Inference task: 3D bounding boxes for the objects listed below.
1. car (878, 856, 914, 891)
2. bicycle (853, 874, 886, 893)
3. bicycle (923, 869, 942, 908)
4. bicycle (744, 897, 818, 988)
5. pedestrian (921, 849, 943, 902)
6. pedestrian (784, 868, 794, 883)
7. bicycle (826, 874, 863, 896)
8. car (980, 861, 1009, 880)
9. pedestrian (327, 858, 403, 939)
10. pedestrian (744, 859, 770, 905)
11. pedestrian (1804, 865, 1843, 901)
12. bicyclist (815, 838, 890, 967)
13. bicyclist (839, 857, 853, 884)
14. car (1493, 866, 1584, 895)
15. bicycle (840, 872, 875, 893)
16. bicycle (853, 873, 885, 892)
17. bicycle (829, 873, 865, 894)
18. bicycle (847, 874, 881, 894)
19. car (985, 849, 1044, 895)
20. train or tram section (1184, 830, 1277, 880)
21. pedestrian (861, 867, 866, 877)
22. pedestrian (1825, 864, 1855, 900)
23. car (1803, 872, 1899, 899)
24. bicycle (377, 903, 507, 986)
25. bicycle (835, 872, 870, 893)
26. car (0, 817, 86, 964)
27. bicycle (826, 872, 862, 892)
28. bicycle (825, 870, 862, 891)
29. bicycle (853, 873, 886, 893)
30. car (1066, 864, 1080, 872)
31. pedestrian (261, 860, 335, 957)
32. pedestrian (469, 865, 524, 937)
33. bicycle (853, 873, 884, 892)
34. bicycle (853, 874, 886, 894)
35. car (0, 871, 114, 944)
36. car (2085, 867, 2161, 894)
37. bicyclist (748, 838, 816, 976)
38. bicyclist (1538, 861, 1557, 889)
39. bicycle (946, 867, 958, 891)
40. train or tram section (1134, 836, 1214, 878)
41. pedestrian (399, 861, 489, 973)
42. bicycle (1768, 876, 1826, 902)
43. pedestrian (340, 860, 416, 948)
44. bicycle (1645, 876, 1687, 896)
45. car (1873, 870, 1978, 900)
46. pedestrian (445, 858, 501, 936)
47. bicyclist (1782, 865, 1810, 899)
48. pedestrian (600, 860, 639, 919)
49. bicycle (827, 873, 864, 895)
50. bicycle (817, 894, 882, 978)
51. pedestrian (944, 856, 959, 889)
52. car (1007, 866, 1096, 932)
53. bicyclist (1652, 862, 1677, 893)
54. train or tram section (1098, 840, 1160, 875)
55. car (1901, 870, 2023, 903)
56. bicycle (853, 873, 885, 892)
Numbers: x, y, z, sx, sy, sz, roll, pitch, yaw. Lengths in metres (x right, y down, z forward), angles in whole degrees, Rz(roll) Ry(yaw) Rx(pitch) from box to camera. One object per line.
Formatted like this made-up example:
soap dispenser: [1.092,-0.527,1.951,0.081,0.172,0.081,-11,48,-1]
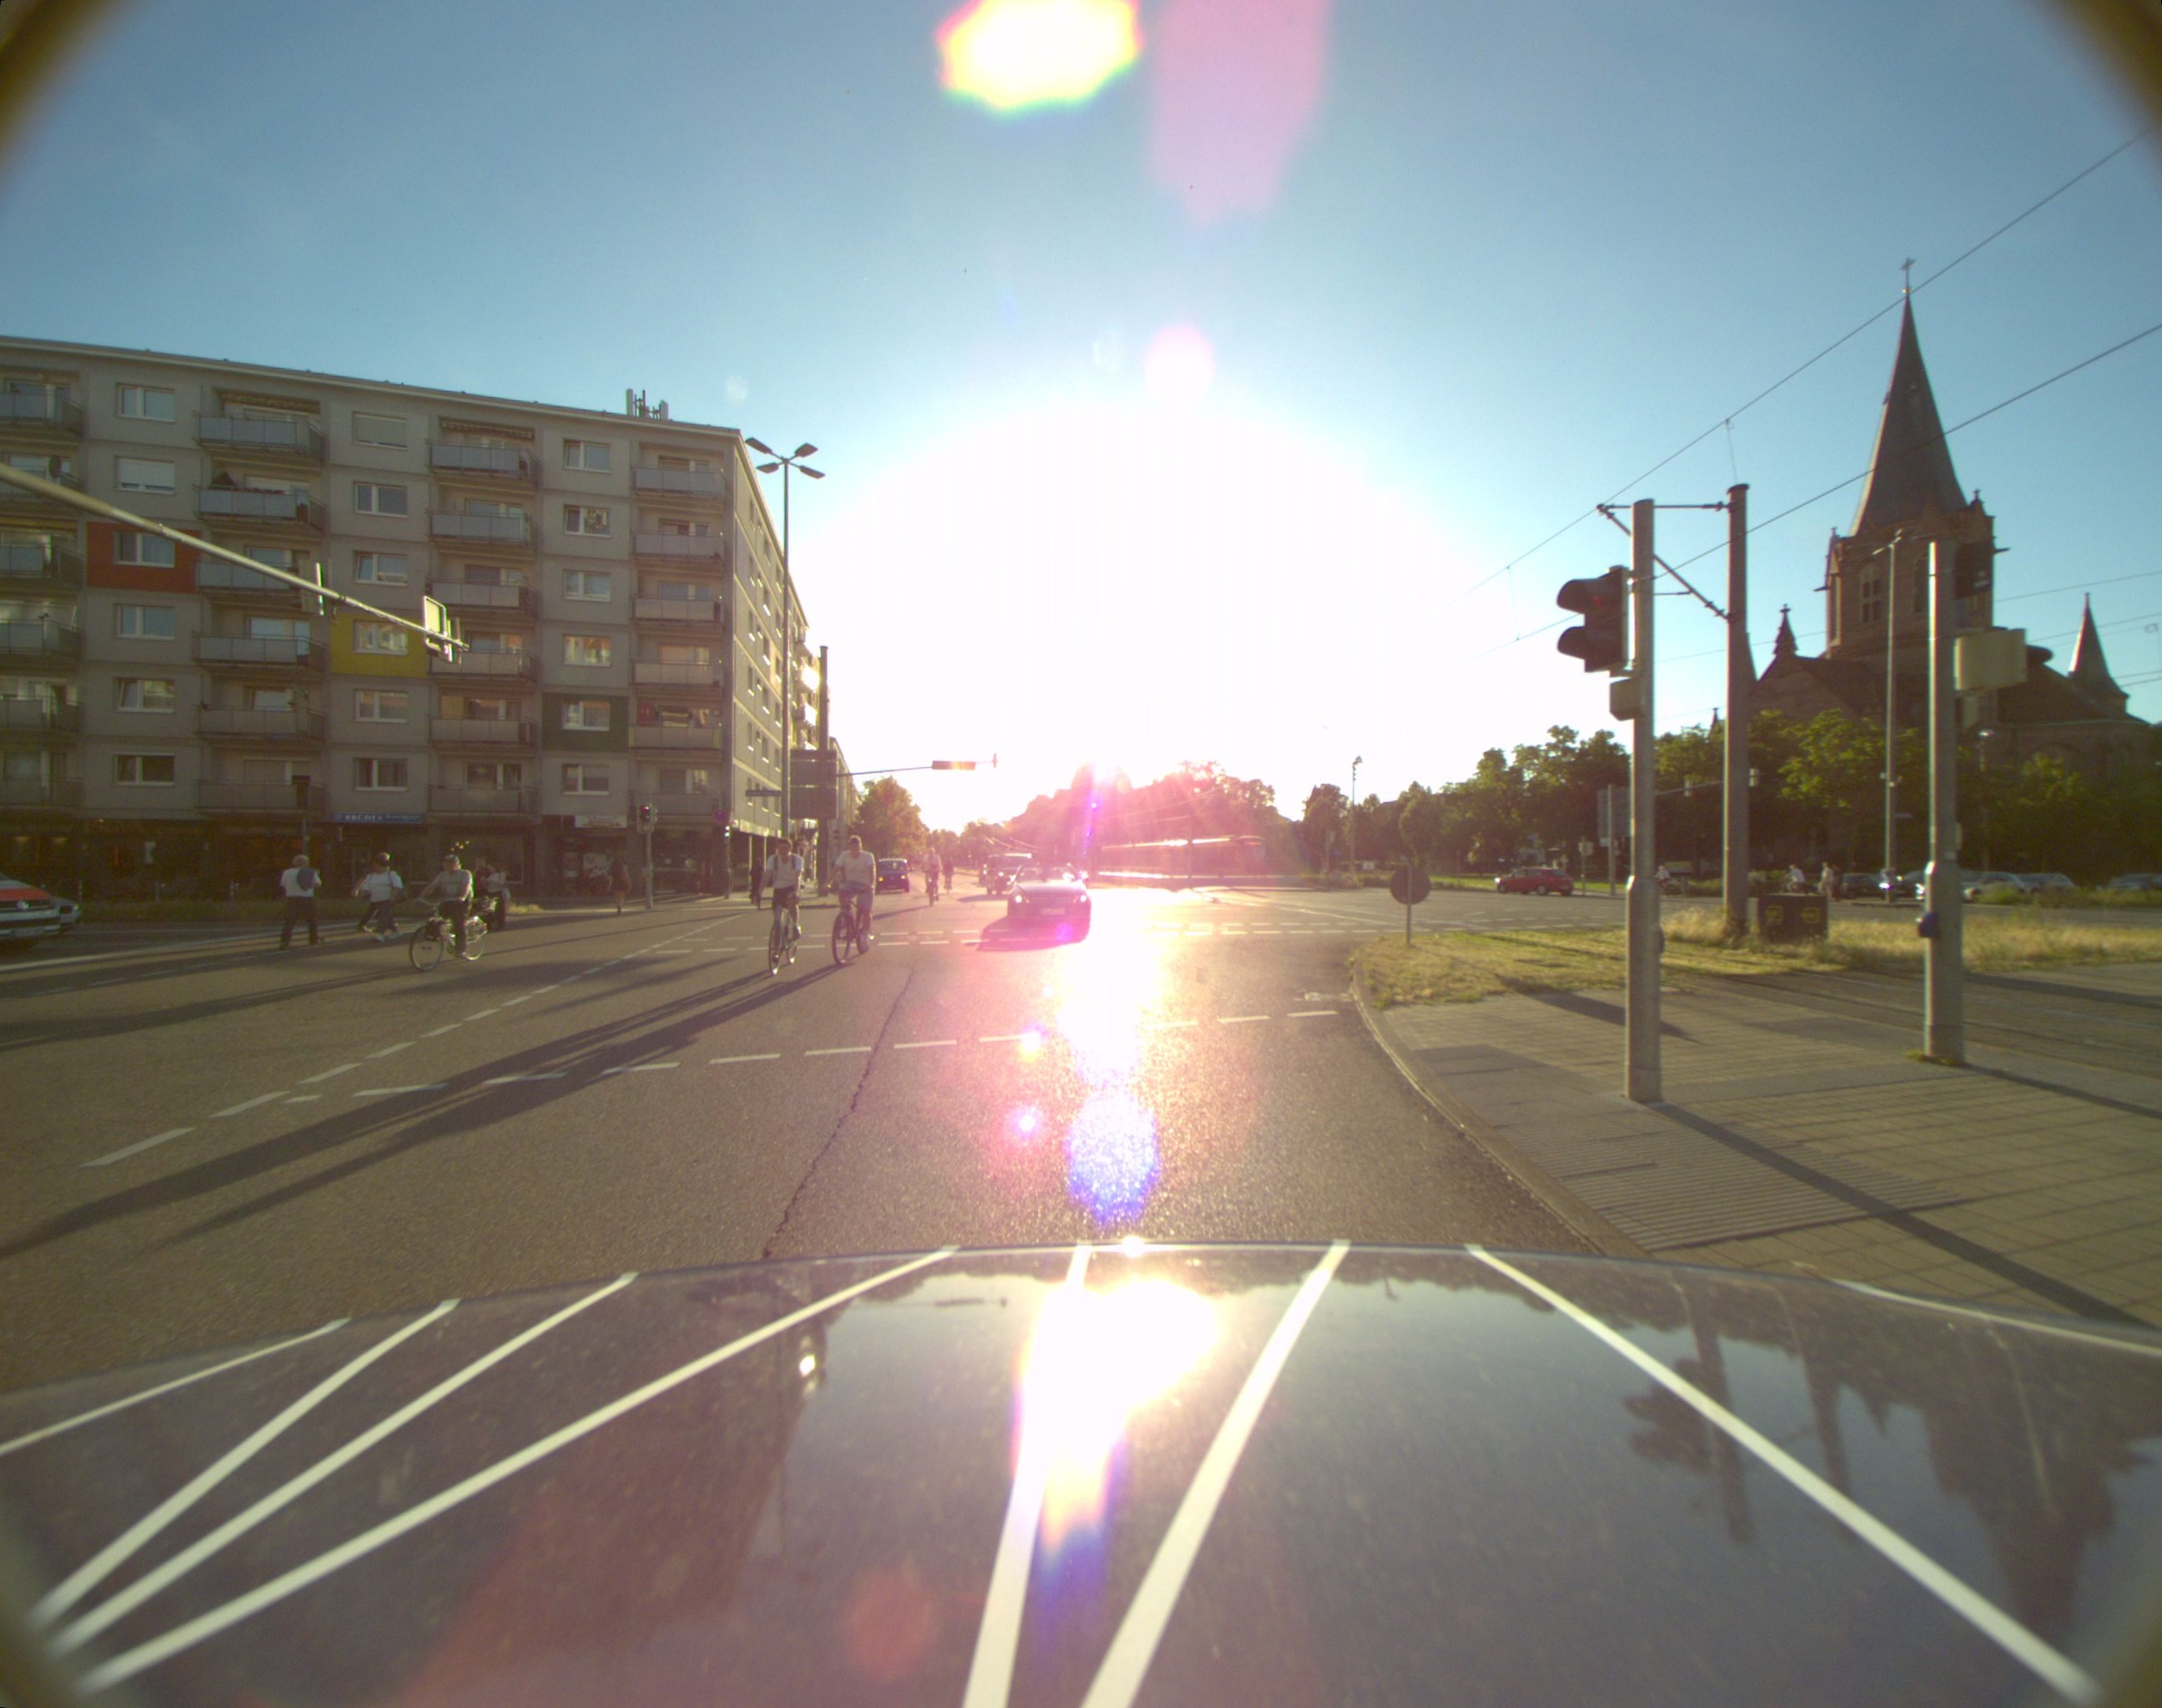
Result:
car: [-10.745,1.109,44.178,1.944,1.922,4.826,0,0,-14]
bicycle: [-12.882,1.788,46.223,1.875,1.119,0.567,3,-1,-17]
bicycle: [-4.754,1.090,24.386,0.530,1.152,1.847,-1,0,-10]
bicycle: [-4.077,1.161,10.450,0.577,1.022,1.855,-1,0,-10]
pedestrian: [-4.768,0.686,24.367,0.640,1.639,0.842,-1,0,-9]
pedestrian: [-22.032,1.611,57.340,0.607,1.145,0.727,0,0,-14]
bicycle: [-12.856,1.684,41.343,1.875,1.119,0.606,3,-1,-17]
car: [-7.193,1.337,62.804,1.817,1.392,3.914,-3,0,-14]
pedestrian: [-15.558,0.941,16.535,0.786,1.691,1.026,0,0,-12]
pedestrian: [-12.101,1.031,28.390,0.664,1.694,1.071,0,0,-9]
pedestrian: [34.964,1.344,35.805,0.738,1.663,1.104,0,0,-11]
bicyclist: [-3.336,0.682,11.180,0.829,1.797,1.057,0,0,-4]
bicyclist: [-15.607,1.100,50.463,0.744,1.797,1.384,0,0,-11]
car: [23.771,1.332,39.603,1.731,1.406,3.880,0,-1,-19]
bicycle: [-13.007,1.646,44.240,1.875,1.119,0.567,3,-1,-17]
bicycle: [-13.374,1.806,47.871,1.875,1.119,0.567,3,-1,-17]
bicycle: [-13.144,1.653,42.693,1.875,1.119,0.567,3,-1,-17]
bicycle: [-12.835,1.796,44.952,1.875,1.119,0.567,3,-1,-17]
car: [-3.170,0.781,35.458,1.922,1.978,4.941,0,0,-15]
train or tram section: [11.328,0.128,59.069,2.783,3.515,10.557,0,0,-14]
pedestrian: [-31.147,2.519,108.913,0.729,1.431,0.923,-1,0,-15]
pedestrian: [35.803,1.326,35.844,0.738,1.663,0.717,0,0,-11]
car: [41.869,1.689,41.343,4.002,1.411,1.900,0,0,-14]
bicycle: [-9.332,1.280,11.186,0.522,0.975,1.848,0,1,-7]
bicycle: [-13.083,1.656,43.512,1.875,1.119,0.567,3,-1,-17]
car: [-20.793,0.620,12.517,5.269,2.468,1.923,0,0,-14]
bicycle: [-12.697,1.512,40.755,1.875,1.055,0.606,0,0,-16]
bicycle: [-12.526,1.396,40.161,1.875,1.055,0.606,0,0,-16]
bicycle: [-13.026,1.773,46.775,1.875,1.119,0.567,3,-1,-17]
car: [-1.422,2.492,136.835,1.717,1.531,3.669,0,0,-13]
pedestrian: [-14.108,0.951,13.710,0.570,1.691,0.811,0,0,-12]
pedestrian: [-12.487,0.985,16.251,0.684,1.491,0.746,0,0,-12]
bicycle: [-13.662,1.817,48.931,1.875,1.119,0.567,3,-1,-17]
bicycle: [-12.722,1.809,45.674,1.875,1.119,0.567,3,-1,-17]
car: [-22.872,1.067,15.250,4.002,1.368,1.804,0,1,-14]
car: [56.974,1.405,41.013,4.002,1.411,1.900,0,0,-14]
bicyclist: [-4.075,0.695,10.428,0.676,1.797,0.993,0,0,-10]
bicyclist: [30.837,1.389,50.260,0.575,1.816,0.893,-1,0,-14]
bicycle: [-6.591,1.278,38.786,0.530,1.152,1.847,-1,0,-12]
train or tram section: [8.312,0.260,70.560,2.783,3.515,13.235,0,0,-14]
pedestrian: [-9.396,0.903,11.240,0.677,1.580,0.761,0,2,-7]
bicycle: [33.733,1.639,35.821,0.460,1.139,1.915,-1,0,-27]
pedestrian: [-13.664,0.945,14.794,0.730,1.652,0.905,0,0,-12]
bicycle: [31.838,1.741,41.400,0.460,1.020,1.928,-1,0,-13]
car: [42.632,1.534,38.381,4.002,1.411,1.900,0,0,-14]
pedestrian: [-13.287,0.925,16.629,0.684,1.652,0.746,0,0,-12]
bicyclist: [33.707,1.301,35.836,0.522,1.574,0.819,-1,0,-27]
pedestrian: [-12.653,0.959,20.855,0.684,1.580,0.746,0,0,-9]
bicycle: [-12.998,1.667,41.919,1.875,1.119,0.567,3,-1,-17]
bicycle: [-3.356,1.148,11.172,0.479,1.022,1.980,-1,0,-5]
pedestrian: [-6.625,0.946,38.924,0.679,1.639,0.901,-1,0,-11]
car: [-0.807,0.949,17.694,1.777,1.300,4.238,0,0,-6]
bicyclist: [31.826,1.277,41.430,0.575,1.671,0.893,-1,0,-14]
train or tram section: [5.031,0.376,83.411,2.783,3.515,13.235,0,0,-14]
car: [40.404,1.463,34.891,4.001,1.411,1.901,0,0,-10]
bicycle: [-13.211,1.781,47.319,1.875,1.119,0.567,3,-1,-17]
